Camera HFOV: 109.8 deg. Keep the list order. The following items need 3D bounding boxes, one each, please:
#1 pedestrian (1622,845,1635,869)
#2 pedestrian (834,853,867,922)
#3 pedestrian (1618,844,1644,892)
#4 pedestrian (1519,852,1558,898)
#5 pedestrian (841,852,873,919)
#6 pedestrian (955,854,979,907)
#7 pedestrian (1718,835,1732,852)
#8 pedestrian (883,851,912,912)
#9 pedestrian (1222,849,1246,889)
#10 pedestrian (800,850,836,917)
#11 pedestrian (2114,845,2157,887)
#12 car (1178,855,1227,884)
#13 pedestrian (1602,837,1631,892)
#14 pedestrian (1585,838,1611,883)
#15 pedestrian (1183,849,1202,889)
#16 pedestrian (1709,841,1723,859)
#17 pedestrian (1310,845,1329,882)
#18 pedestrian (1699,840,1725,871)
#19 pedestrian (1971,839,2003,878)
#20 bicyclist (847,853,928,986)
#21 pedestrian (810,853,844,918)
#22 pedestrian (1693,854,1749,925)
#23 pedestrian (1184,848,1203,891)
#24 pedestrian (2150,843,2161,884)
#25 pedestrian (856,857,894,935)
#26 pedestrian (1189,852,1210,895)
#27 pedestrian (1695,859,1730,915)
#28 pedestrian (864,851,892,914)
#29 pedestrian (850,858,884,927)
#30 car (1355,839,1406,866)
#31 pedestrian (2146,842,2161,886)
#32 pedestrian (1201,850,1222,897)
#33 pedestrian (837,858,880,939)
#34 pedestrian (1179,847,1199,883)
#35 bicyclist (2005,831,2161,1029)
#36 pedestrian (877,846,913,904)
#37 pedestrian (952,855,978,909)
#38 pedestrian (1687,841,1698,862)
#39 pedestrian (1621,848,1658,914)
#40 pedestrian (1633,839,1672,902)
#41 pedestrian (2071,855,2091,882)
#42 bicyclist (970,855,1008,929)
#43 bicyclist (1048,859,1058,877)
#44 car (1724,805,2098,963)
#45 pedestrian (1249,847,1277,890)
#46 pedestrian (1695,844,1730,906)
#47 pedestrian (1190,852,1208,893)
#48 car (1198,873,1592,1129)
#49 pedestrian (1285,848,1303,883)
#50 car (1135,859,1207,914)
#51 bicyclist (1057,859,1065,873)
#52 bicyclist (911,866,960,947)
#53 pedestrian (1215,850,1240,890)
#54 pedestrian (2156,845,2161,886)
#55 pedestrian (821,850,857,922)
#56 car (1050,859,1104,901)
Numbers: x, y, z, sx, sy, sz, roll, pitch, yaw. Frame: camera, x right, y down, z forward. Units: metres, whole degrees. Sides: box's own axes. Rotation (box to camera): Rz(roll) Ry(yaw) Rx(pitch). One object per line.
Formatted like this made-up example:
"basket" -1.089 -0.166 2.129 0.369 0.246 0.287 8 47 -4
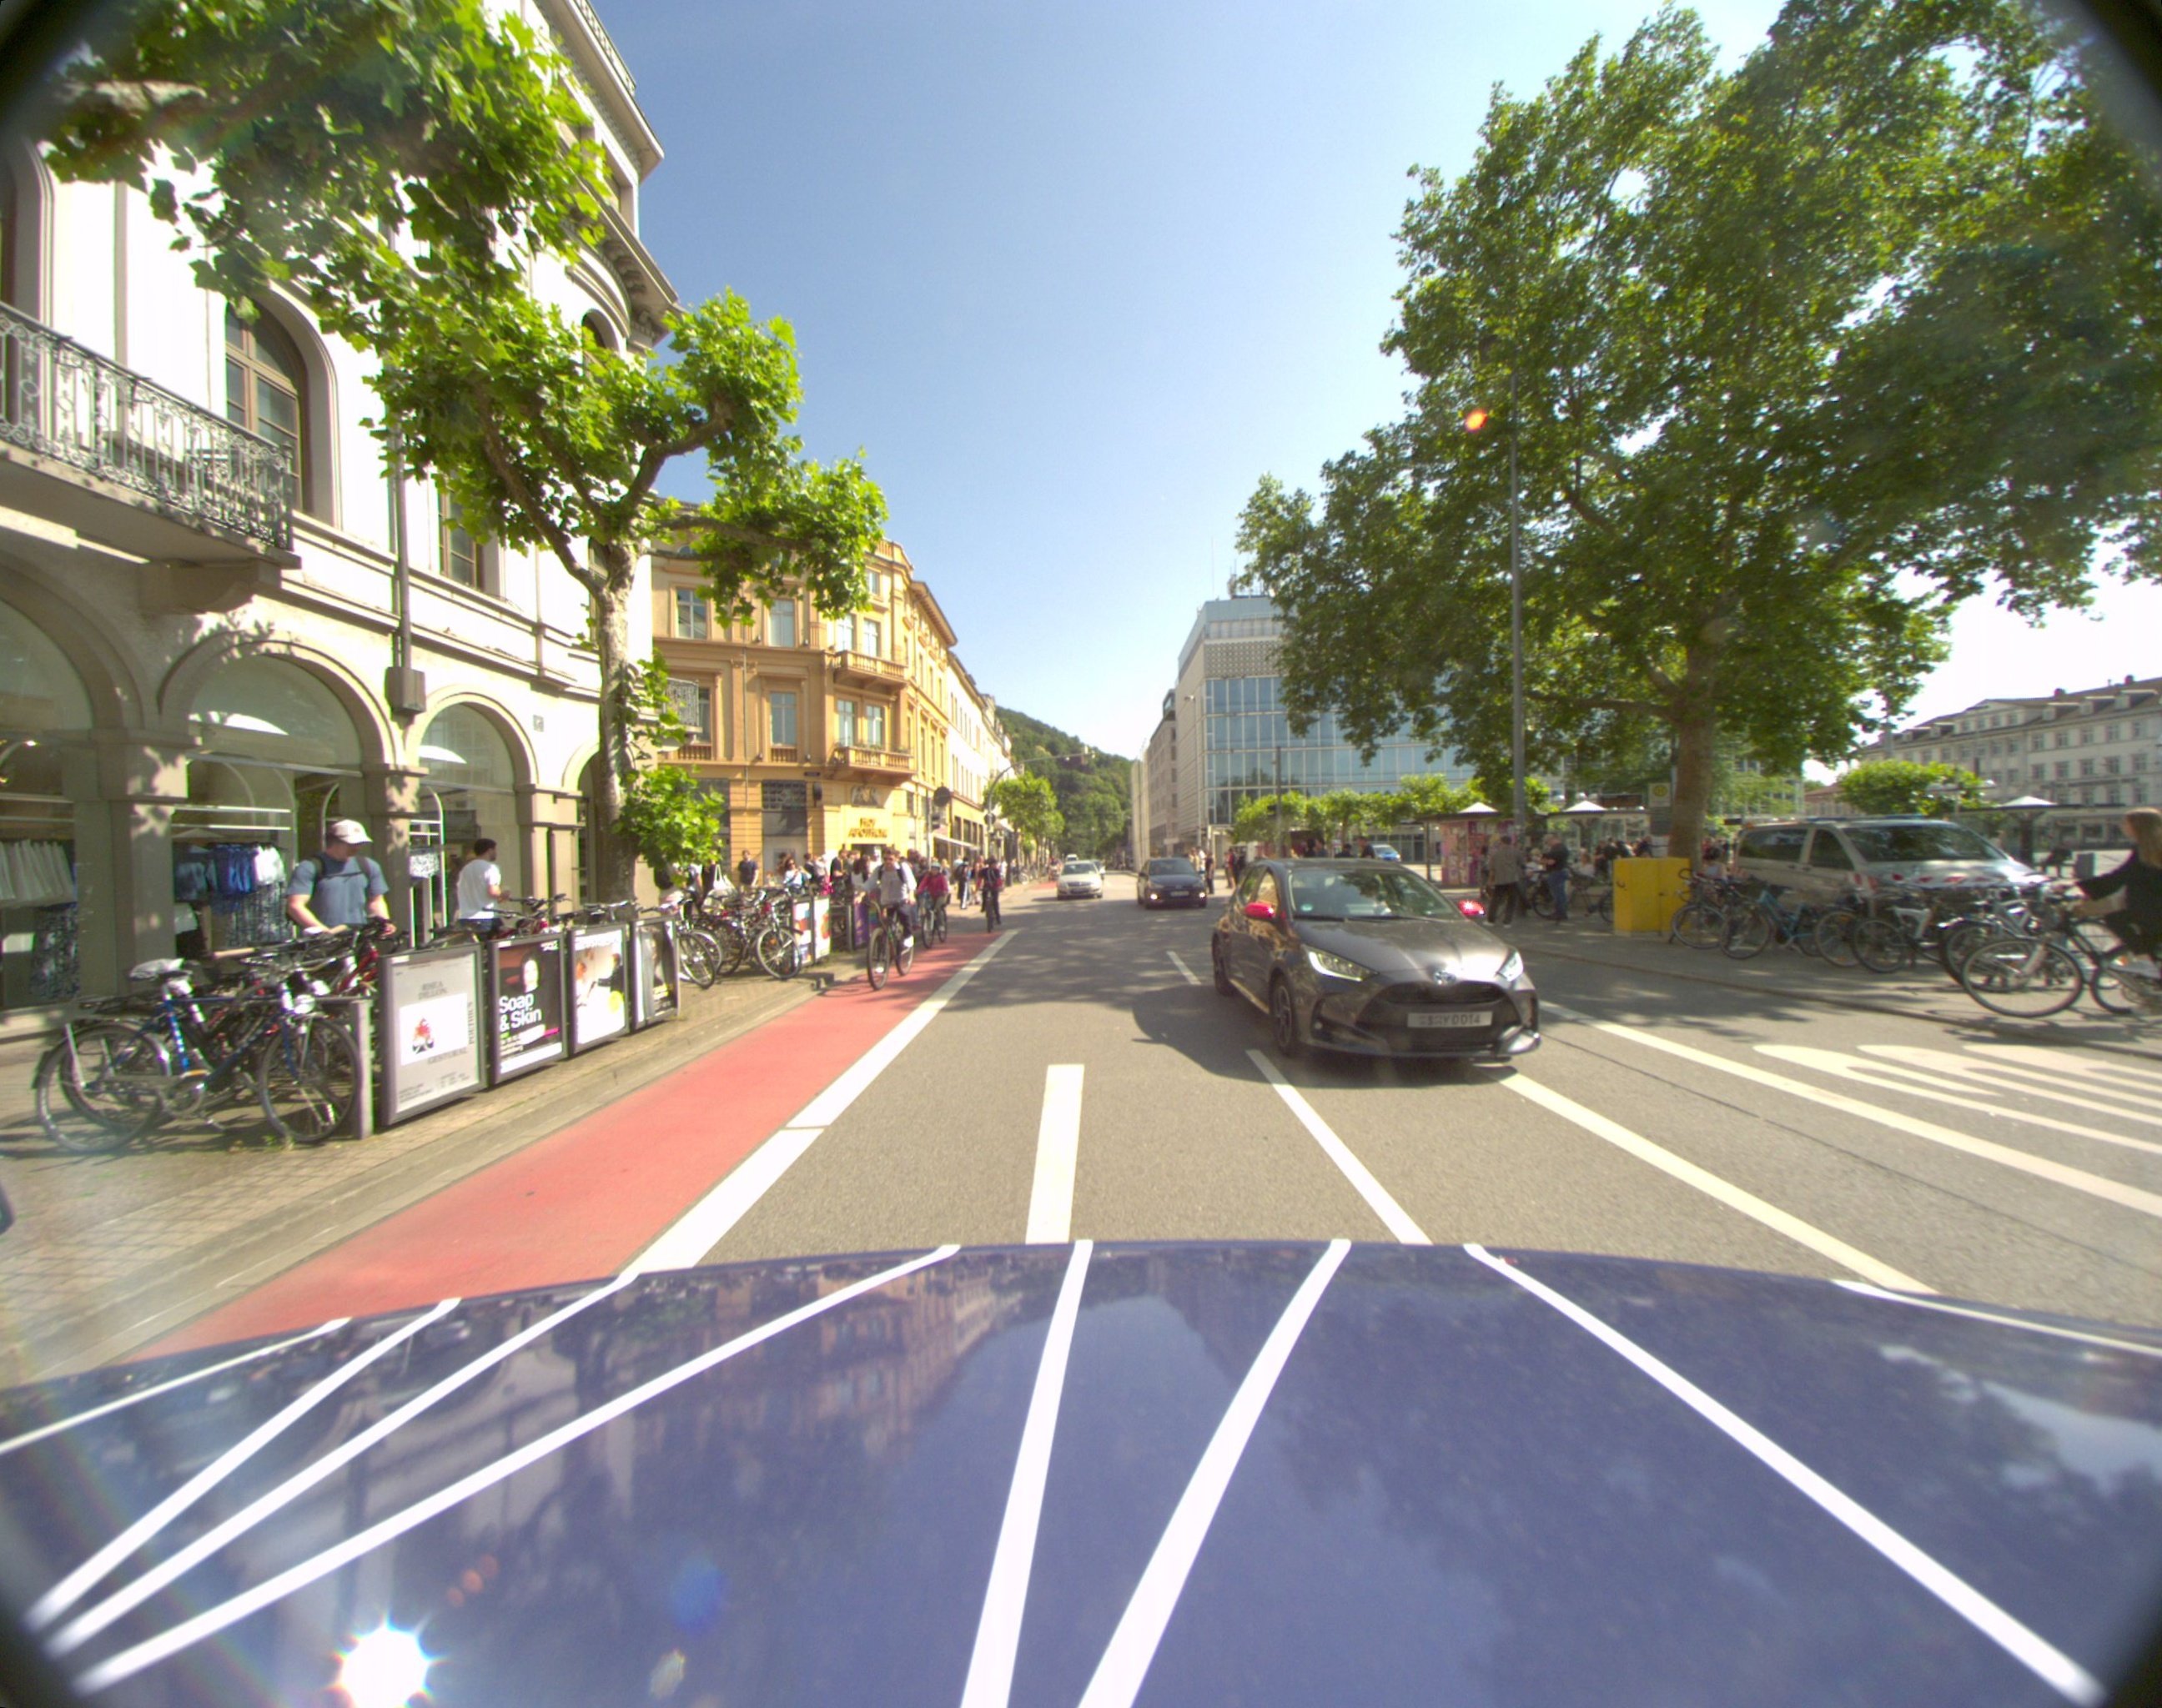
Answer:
"pedestrian" 33.752 0.166 46.828 0.464 1.464 0.410 -3 1 -2
"pedestrian" -5.896 0.846 19.445 0.578 1.714 0.622 -3 1 -3
"pedestrian" 17.927 0.445 24.761 0.491 1.517 0.456 -3 1 7
"pedestrian" 12.957 0.581 21.539 0.672 1.234 0.614 -3 1 -18
"pedestrian" -5.898 0.814 20.059 0.578 1.729 0.622 -3 1 -3
"pedestrian" -3.829 0.873 25.502 0.606 1.726 0.647 -1 1 -23
"pedestrian" 54.671 -0.883 64.515 0.756 1.464 0.556 -3 1 27
"pedestrian" -5.719 0.832 23.717 0.686 1.847 0.622 -3 1 -3
"pedestrian" 6.749 0.660 33.493 0.751 1.737 0.733 -3 1 -10
"pedestrian" -7.281 0.814 21.031 0.650 1.793 0.699 -3 1 -1
"pedestrian" 37.916 0.428 27.321 0.757 1.464 0.555 -3 1 0
"car" 9.634 1.221 60.165 1.995 2.002 4.007 -3 1 40
"pedestrian" 17.320 0.331 24.571 0.554 1.717 0.492 -3 1 7
"pedestrian" 17.324 0.224 25.465 0.455 1.464 0.555 -3 1 8
"pedestrian" 5.001 0.679 34.116 0.639 1.737 0.733 -3 1 -2
"pedestrian" 51.685 -0.323 61.850 0.756 1.464 0.556 -3 1 27
"pedestrian" 11.361 0.441 36.232 0.732 1.737 0.640 -3 1 13
"pedestrian" 35.806 0.093 43.121 0.752 1.737 0.782 -3 1 -10
"pedestrian" 34.970 0.161 29.319 0.554 1.464 0.532 -3 1 7
"bicyclist" -2.421 0.795 9.609 0.750 1.567 0.778 -3 1 -1
"pedestrian" -7.306 0.899 21.856 0.623 1.806 0.631 -4 1 -43
"pedestrian" 16.307 0.881 19.375 0.668 1.737 0.782 -3 1 -10
"pedestrian" 5.159 0.690 34.920 0.639 1.909 0.860 -3 1 -1
"pedestrian" 39.484 0.318 27.493 0.757 1.464 0.555 -3 1 0
"pedestrian" -4.654 0.930 17.203 0.578 1.675 0.775 -3 1 -3
"pedestrian" 4.898 0.791 31.467 0.639 1.737 0.733 -3 1 -2
"pedestrian" 14.043 0.729 16.907 0.500 1.199 0.460 -3 1 33
"pedestrian" -5.994 0.829 22.468 0.578 1.792 0.697 -3 1 -3
"pedestrian" -5.122 0.910 18.223 0.578 1.574 0.622 -3 1 -3
"car" 23.819 -0.130 60.568 2.000 2.002 3.997 -3 0 -7
"pedestrian" 36.766 0.335 25.644 0.554 1.464 0.758 -3 1 7
"pedestrian" 4.906 0.733 28.657 0.575 1.704 0.652 -3 1 -2
"pedestrian" -4.751 0.938 16.208 0.579 1.675 0.620 -4 1 -44
"pedestrian" 5.320 0.522 37.555 0.731 1.737 0.640 -3 1 25
"bicyclist" 8.520 0.579 6.128 1.158 1.489 0.833 -3 1 36
"pedestrian" -6.104 0.683 24.989 0.621 1.835 0.857 -2 1 39
"pedestrian" -3.688 0.887 24.173 0.579 1.675 0.726 -3 1 -23
"pedestrian" 43.415 -0.164 53.952 0.554 1.464 0.759 -2 1 37
"pedestrian" 12.794 0.616 17.422 0.579 1.452 0.787 -3 1 33
"pedestrian" 16.221 0.452 21.568 0.537 1.737 0.613 -3 1 -10
"pedestrian" 36.486 0.534 27.713 0.330 0.957 0.335 -3 1 -19
"bicyclist" -2.043 0.822 16.927 0.690 1.567 0.778 -3 1 -3
"bicyclist" -2.166 1.100 58.840 0.736 1.344 0.736 -3 1 0
"car" 12.791 0.365 12.318 1.996 2.002 5.074 -3 0 21
"pedestrian" 7.513 0.598 31.374 0.722 1.737 0.884 -3 1 -10
"pedestrian" 17.168 0.563 20.651 0.503 1.659 0.471 -3 1 -10
"pedestrian" 5.182 0.813 33.386 0.639 1.737 0.605 -3 1 -2
"car" 2.264 0.960 6.726 1.782 1.466 3.999 0 0 -1
"pedestrian" 10.213 0.552 36.420 0.732 1.660 0.640 -3 1 13
"car" 2.594 0.908 22.724 1.699 1.397 4.000 -1 0 1
"bicyclist" -1.908 1.149 72.262 0.726 1.271 0.715 -3 1 0
"bicyclist" -2.664 0.946 13.995 0.690 1.388 0.778 -3 1 -2
"pedestrian" 6.628 0.719 34.442 0.876 1.737 0.733 -3 1 -2
"pedestrian" 38.578 0.408 26.678 0.554 1.464 0.758 -3 1 7
"pedestrian" -5.776 0.757 18.173 0.578 1.675 0.622 -3 1 -3
"car" -0.115 0.975 29.792 1.918 1.401 4.000 -3 0 1
